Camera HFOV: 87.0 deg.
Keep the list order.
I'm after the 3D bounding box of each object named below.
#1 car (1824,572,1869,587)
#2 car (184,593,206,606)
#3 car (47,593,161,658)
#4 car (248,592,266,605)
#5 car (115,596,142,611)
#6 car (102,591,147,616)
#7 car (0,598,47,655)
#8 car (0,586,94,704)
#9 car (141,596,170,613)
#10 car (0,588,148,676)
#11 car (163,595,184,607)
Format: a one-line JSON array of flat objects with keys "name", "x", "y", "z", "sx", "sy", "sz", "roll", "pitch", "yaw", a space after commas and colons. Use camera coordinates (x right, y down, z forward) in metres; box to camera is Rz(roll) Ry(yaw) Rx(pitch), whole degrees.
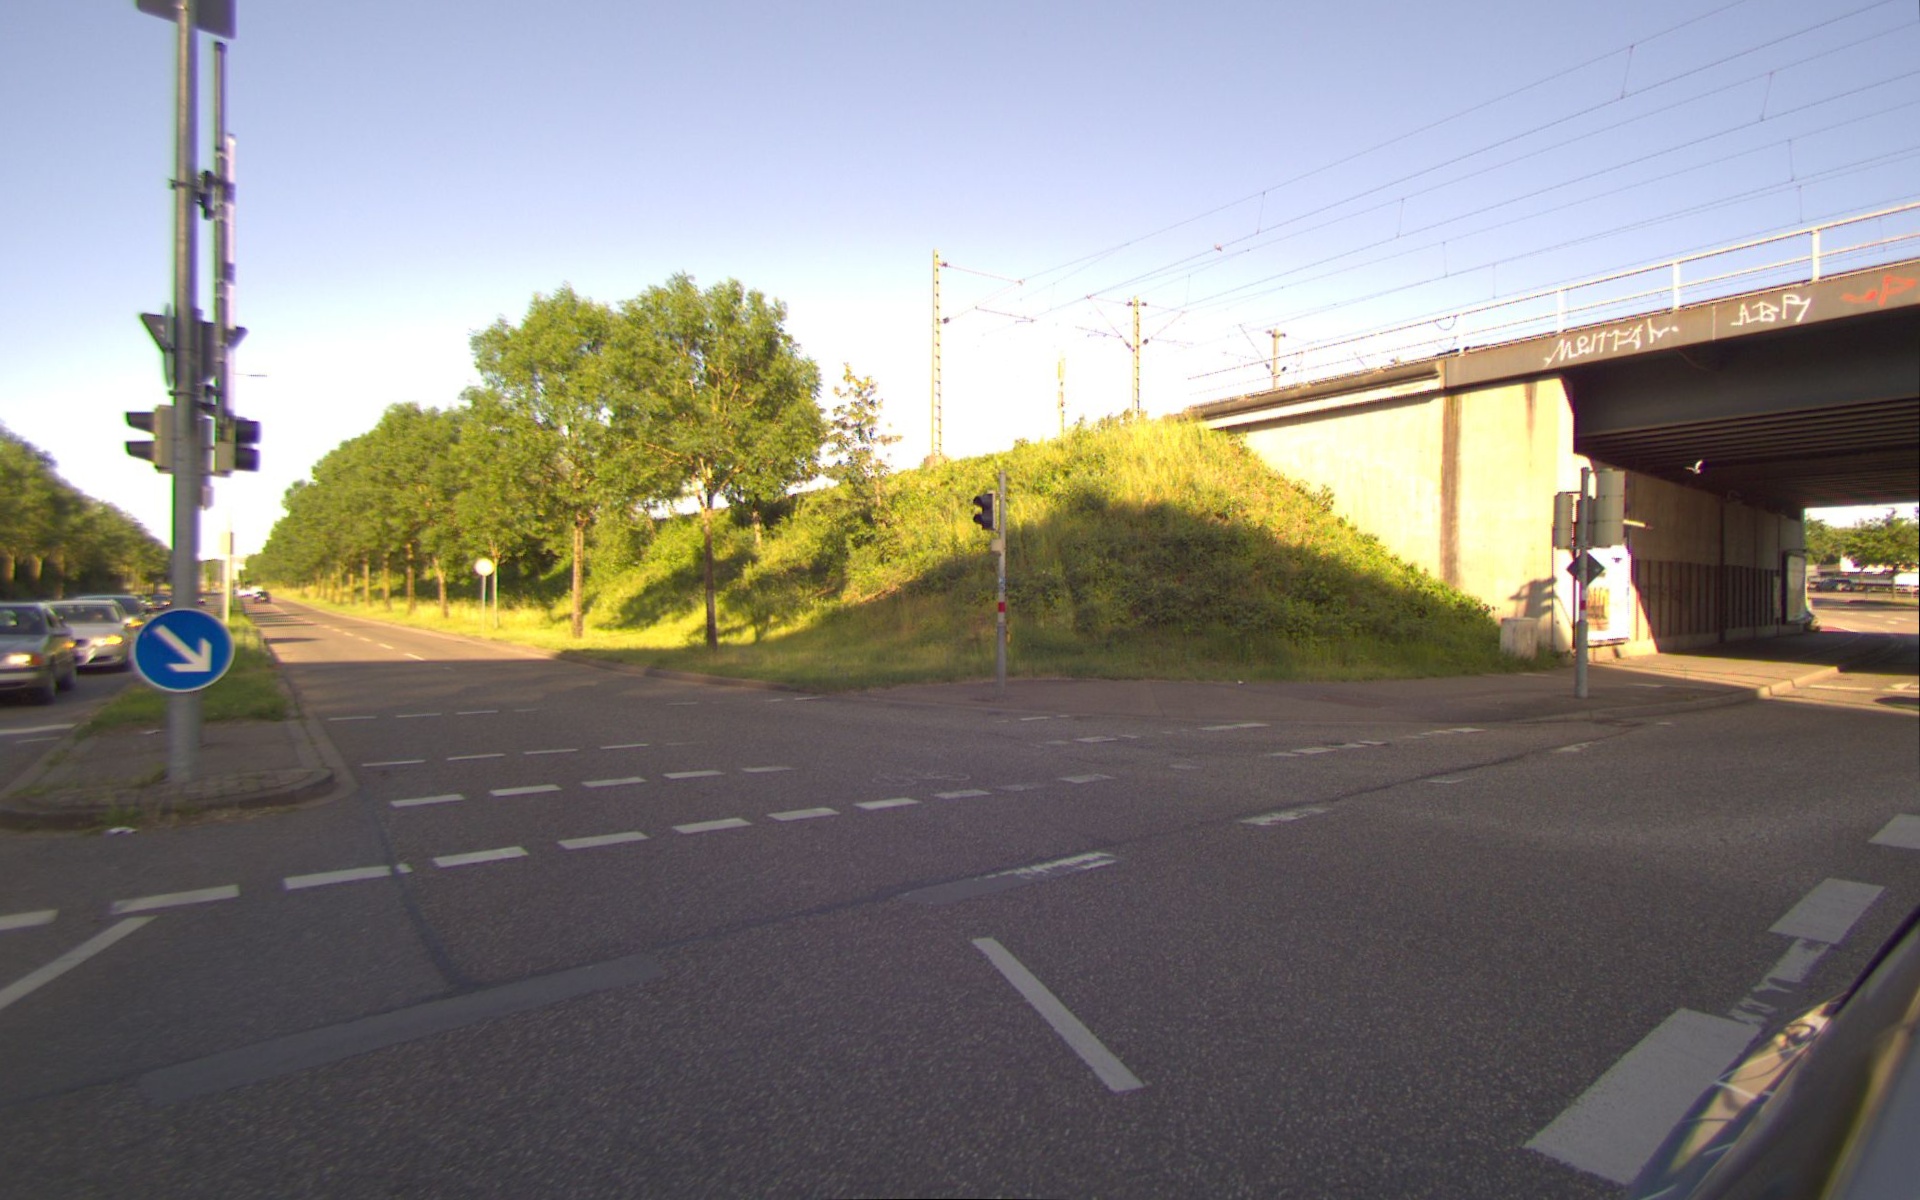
[{"name": "car", "x": 92.042, "y": -2.118, "z": 105.123, "sx": 1.596, "sy": 1.539, "sz": 3.819, "roll": 0, "pitch": 1, "yaw": 7}, {"name": "car", "x": -91.366, "y": -0.078, "z": 120.919, "sx": 1.793, "sy": 1.533, "sz": 4.563, "roll": -2, "pitch": 1, "yaw": -34}, {"name": "car", "x": -22.791, "y": 0.632, "z": 27.100, "sx": 1.793, "sy": 1.533, "sz": 4.563, "roll": -2, "pitch": 1, "yaw": -34}, {"name": "car", "x": -88.766, "y": -0.166, "z": 127.792, "sx": 1.793, "sy": 1.533, "sz": 4.563, "roll": -2, "pitch": 1, "yaw": -34}, {"name": "car", "x": -89.139, "y": 0.335, "z": 108.512, "sx": 1.793, "sy": 1.533, "sz": 4.563, "roll": -2, "pitch": 1, "yaw": -34}, {"name": "car", "x": -55.116, "y": 0.208, "z": 66.832, "sx": 1.793, "sy": 1.533, "sz": 4.563, "roll": -2, "pitch": 1, "yaw": -34}, {"name": "car", "x": -27.812, "y": 0.748, "z": 28.968, "sx": 1.793, "sy": 1.533, "sz": 4.563, "roll": -2, "pitch": 1, "yaw": -34}, {"name": "car", "x": -14.190, "y": 0.617, "z": 14.765, "sx": 1.793, "sy": 1.533, "sz": 4.563, "roll": -2, "pitch": 1, "yaw": -34}, {"name": "car", "x": -78.344, "y": 0.448, "z": 98.595, "sx": 1.793, "sy": 1.533, "sz": 4.563, "roll": -2, "pitch": 1, "yaw": -34}, {"name": "car", "x": -17.869, "y": 0.580, "z": 20.487, "sx": 1.793, "sy": 1.533, "sz": 4.563, "roll": -2, "pitch": 1, "yaw": -34}, {"name": "car", "x": -103.849, "y": 0.113, "z": 133.662, "sx": 1.793, "sy": 1.533, "sz": 4.563, "roll": -2, "pitch": 1, "yaw": -34}]
